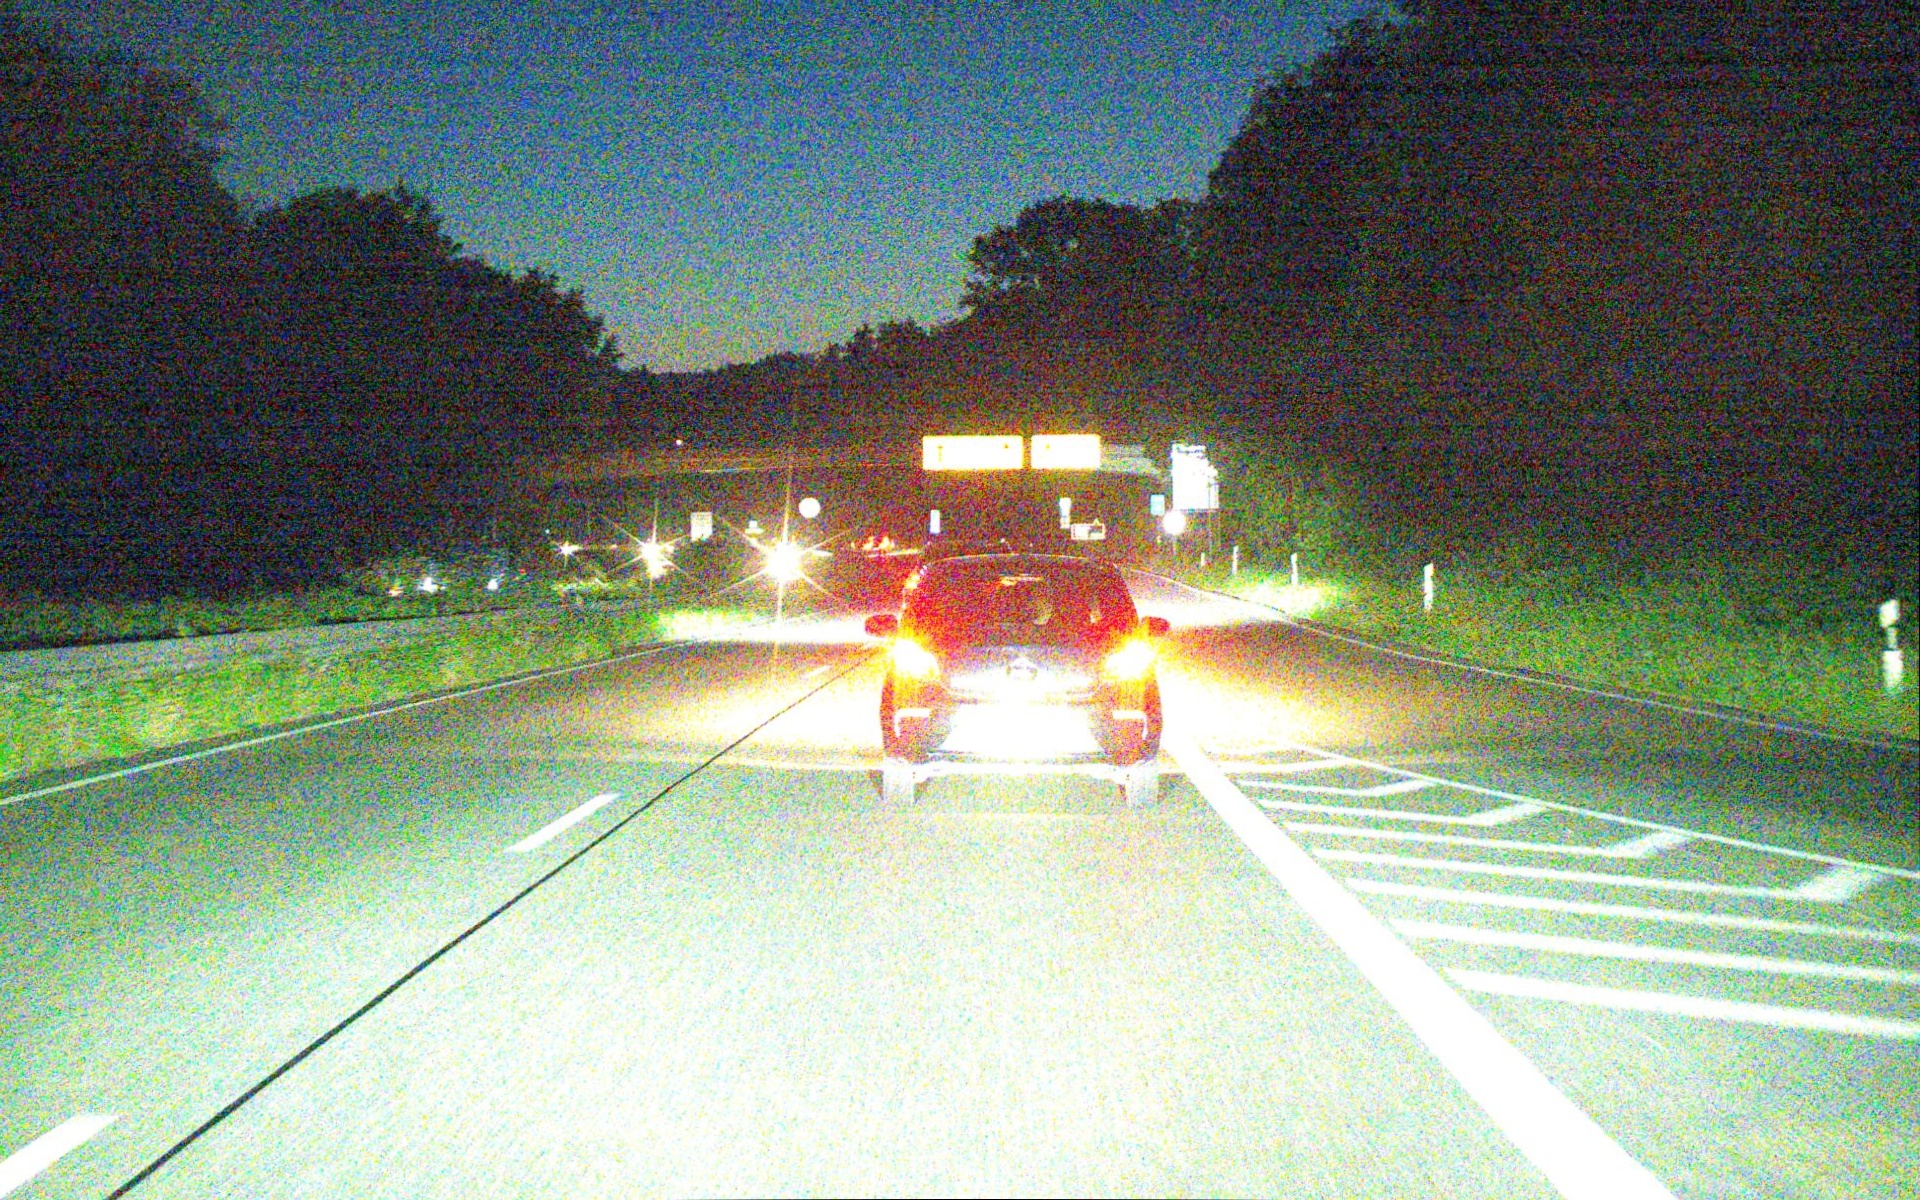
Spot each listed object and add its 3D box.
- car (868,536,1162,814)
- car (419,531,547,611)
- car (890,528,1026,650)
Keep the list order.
[{"bbox_3d":[0.297,0.381,21.090,1.588,1.503,4.000,2,1,0],"label":"car"},{"bbox_3d":[-10.922,-0.696,79.057,1.958,1.727,5.079,-1,1,3],"label":"car"},{"bbox_3d":[0.003,-0.198,50.654,1.906,1.692,4.000,0,2,1],"label":"car"}]
